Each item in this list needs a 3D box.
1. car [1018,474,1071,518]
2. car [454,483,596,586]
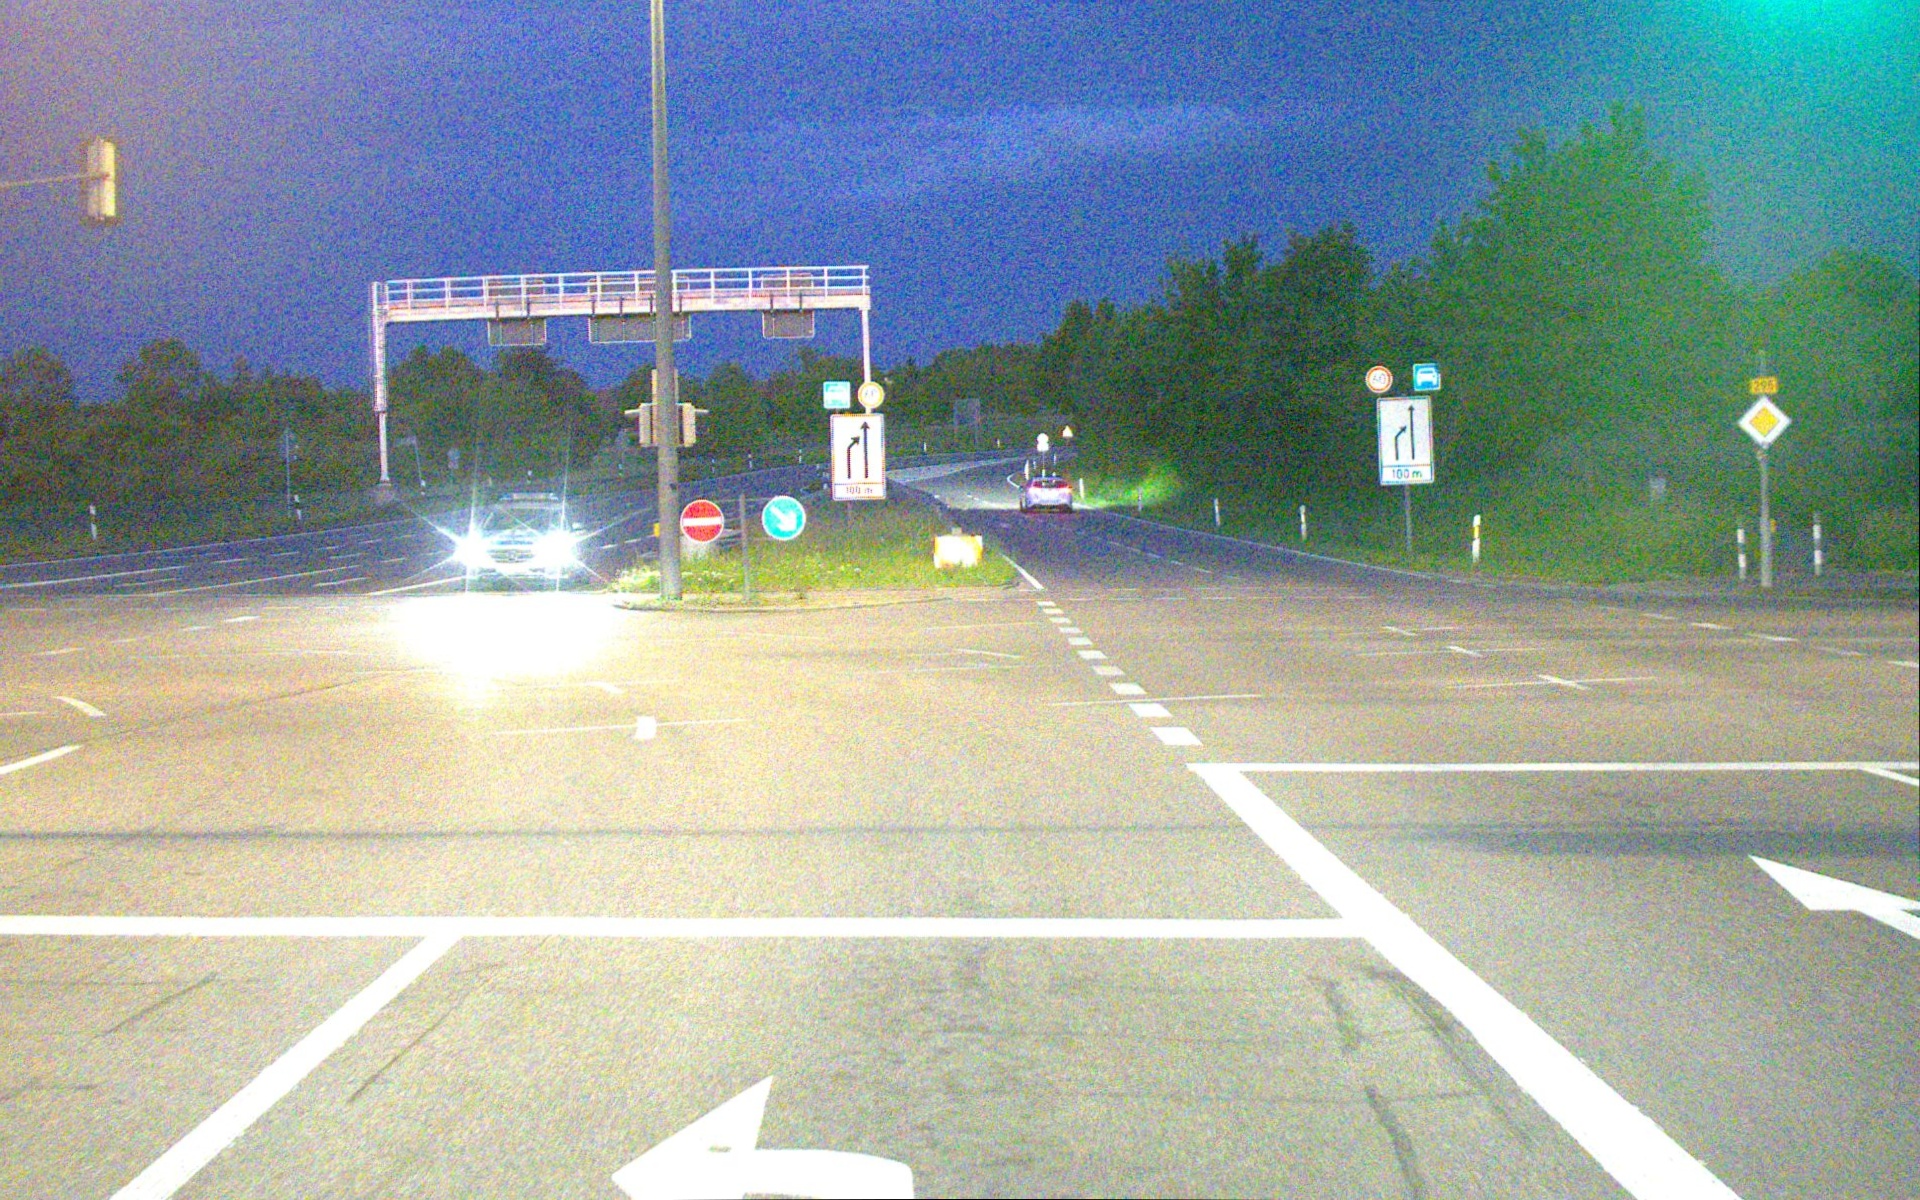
[{"bbox_3d":[3.315,-4.056,134.252,2.008,1.605,3.845,1,1,2],"label":"car"},{"bbox_3d":[-7.391,-1.144,58.742,1.993,1.692,4.001,0,2,-1],"label":"car"}]
